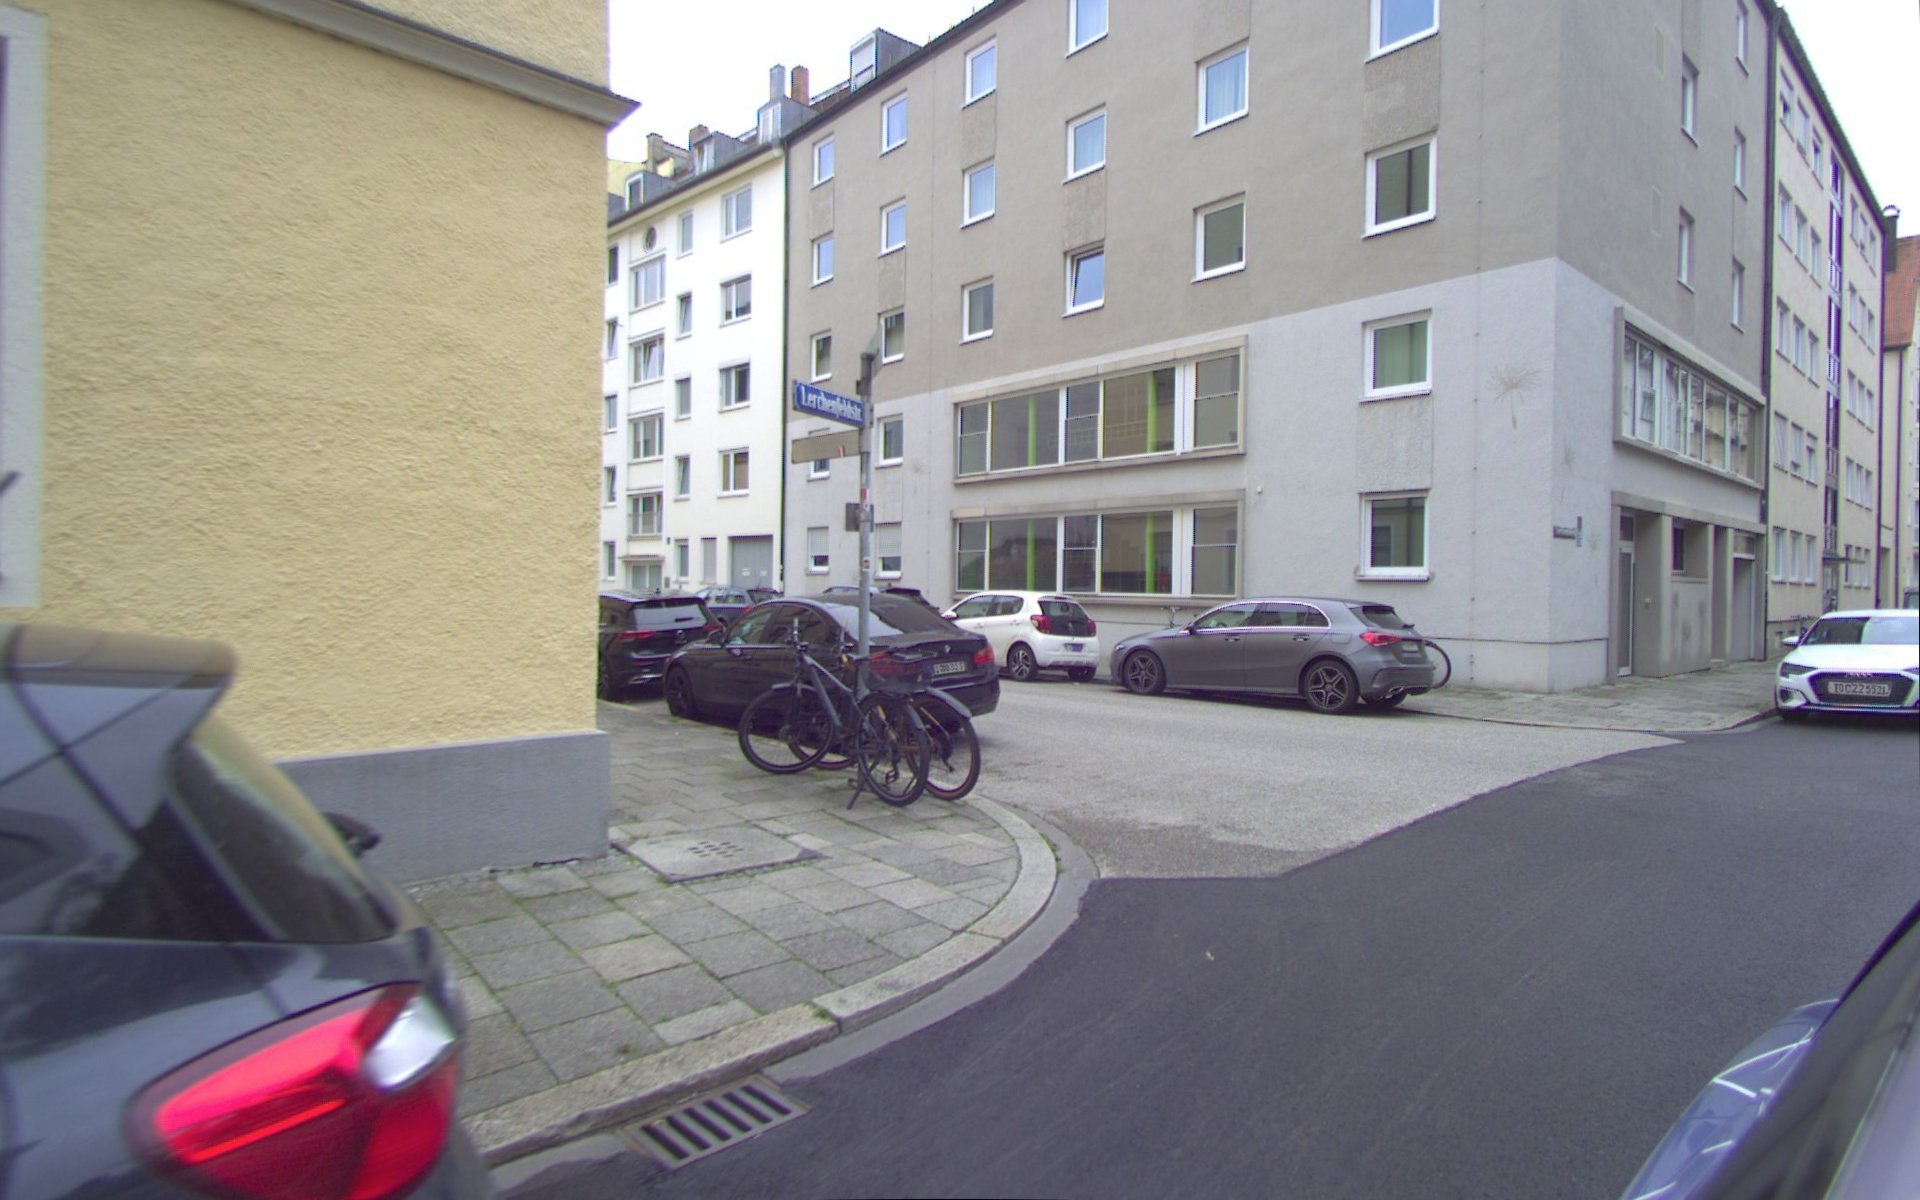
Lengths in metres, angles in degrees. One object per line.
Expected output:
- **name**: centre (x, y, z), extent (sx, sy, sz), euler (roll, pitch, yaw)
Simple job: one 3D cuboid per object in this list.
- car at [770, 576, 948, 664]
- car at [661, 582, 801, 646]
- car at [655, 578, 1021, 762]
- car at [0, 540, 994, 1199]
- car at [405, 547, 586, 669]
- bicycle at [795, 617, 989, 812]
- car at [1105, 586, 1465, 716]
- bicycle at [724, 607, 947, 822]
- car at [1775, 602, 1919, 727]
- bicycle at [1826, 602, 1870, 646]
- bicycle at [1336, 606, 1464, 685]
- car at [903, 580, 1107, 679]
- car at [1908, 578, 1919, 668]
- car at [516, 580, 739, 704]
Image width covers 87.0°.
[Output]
- **car**: centre (-2.131, 0.385, 20.849), extent (3.663, 1.546, 1.542), euler (2, -3, 43)
- **car**: centre (-5.639, 0.314, 24.733), extent (3.662, 1.436, 1.542), euler (1, -1, 43)
- **car**: centre (-1.456, 0.541, 10.576), extent (1.683, 1.512, 4.217), euler (-1, 2, -42)
- **car**: centre (-2.103, 0.719, 0.647), extent (4.269, 1.488, 1.752), euler (0, -2, -43)
- **car**: centre (-9.135, 0.080, 19.696), extent (1.877, 2.077, 4.547), euler (-3, 3, -42)
- **bicycle**: centre (-0.535, 0.745, 7.210), extent (0.367, 1.153, 1.716), euler (3, 1, -41)
- **car**: centre (4.243, 0.587, 13.678), extent (1.966, 1.417, 4.208), euler (2, 0, -44)
- **bicycle**: centre (-0.897, 0.691, 6.844), extent (0.496, 1.189, 1.811), euler (3, 1, -42)
- **car**: centre (12.227, 0.747, 13.243), extent (3.884, 1.426, 1.821), euler (0, 0, -42)
- **bicycle**: centre (24.767, 0.654, 28.228), extent (1.730, 1.119, 0.656), euler (-1, 5, -42)
- **bicycle**: centre (6.794, 0.678, 15.694), extent (0.457, 1.130, 1.799), euler (0, 0, -41)
- **car**: centre (0.700, 0.472, 17.374), extent (1.539, 1.454, 3.350), euler (6, -3, -41)
- **car**: centre (23.193, 0.494, 23.283), extent (4.270, 2.001, 1.752), euler (0, -2, -44)
- **car**: centre (-4.955, 0.495, 14.765), extent (1.682, 1.512, 3.981), euler (-3, 3, -41)
